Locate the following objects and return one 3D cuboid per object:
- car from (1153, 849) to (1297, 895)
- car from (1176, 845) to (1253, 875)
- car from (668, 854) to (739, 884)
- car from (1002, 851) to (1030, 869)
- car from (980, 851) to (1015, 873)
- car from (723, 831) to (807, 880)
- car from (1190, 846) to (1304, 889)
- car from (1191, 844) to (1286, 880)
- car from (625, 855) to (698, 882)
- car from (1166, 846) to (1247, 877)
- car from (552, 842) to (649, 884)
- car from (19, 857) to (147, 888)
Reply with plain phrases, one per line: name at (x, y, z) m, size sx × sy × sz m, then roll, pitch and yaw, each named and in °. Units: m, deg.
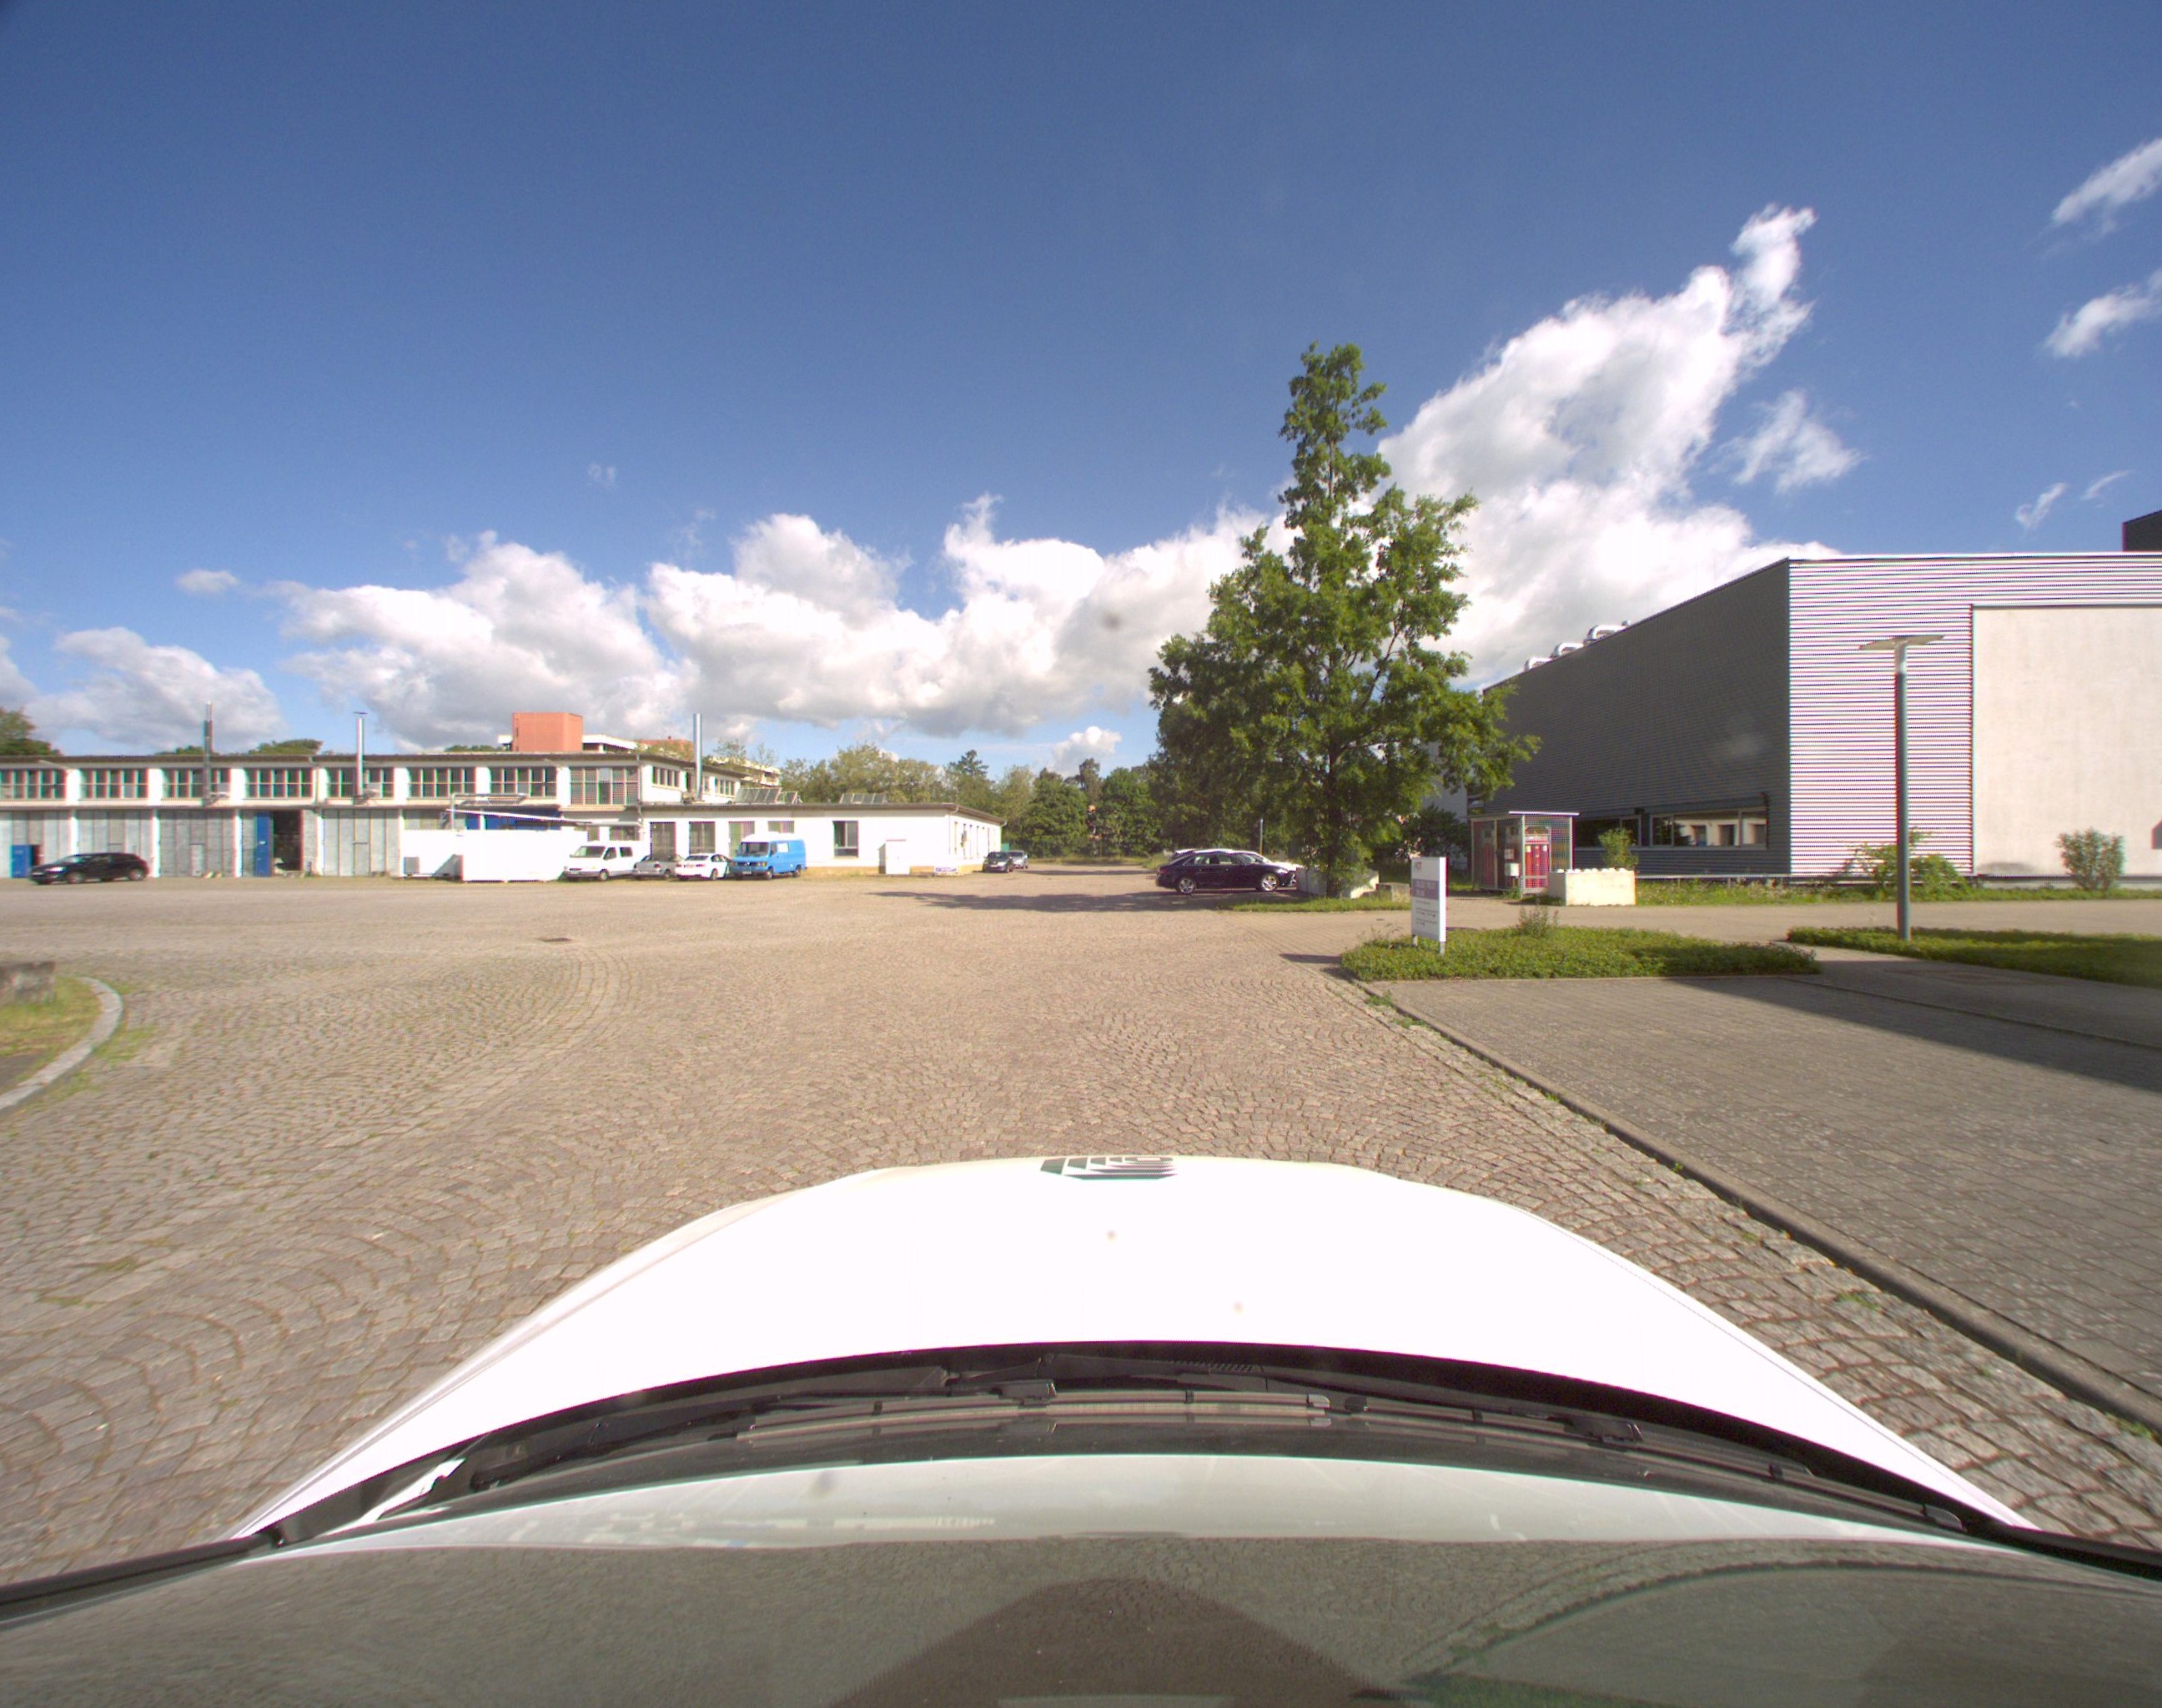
car at (4.956, 0.605, 28.408) m, size 4.702 × 1.423 × 1.757 m, roll -2°, pitch 0°, yaw 0°
car at (7.185, 0.311, 44.137) m, size 3.896 × 1.435 × 1.797 m, roll -2°, pitch 0°, yaw 2°
car at (-19.748, 0.749, 42.803) m, size 1.724 × 1.405 × 3.744 m, roll -1°, pitch 2°, yaw 5°
car at (-5.190, 0.442, 65.324) m, size 1.680 × 1.435 × 3.990 m, roll 0°, pitch 0°, yaw 3°
car at (-5.640, 0.503, 55.382) m, size 1.756 × 1.435 × 3.995 m, roll 0°, pitch 0°, yaw 3°
car at (-16.869, 0.053, 43.851) m, size 2.073 × 2.483 × 5.246 m, roll -1°, pitch 0°, yaw 5°
car at (6.272, 0.513, 31.106) m, size 4.116 × 1.460 × 1.695 m, roll -2°, pitch 0°, yaw 7°
car at (6.975, 0.357, 36.305) m, size 3.896 × 1.446 × 1.757 m, roll -2°, pitch 0°, yaw 2°
car at (-22.499, 0.749, 43.825) m, size 1.679 × 1.398 × 3.836 m, roll 0°, pitch 0°, yaw 5°
car at (6.330, 0.375, 41.324) m, size 3.896 × 1.417 × 1.694 m, roll -2°, pitch 0°, yaw 2°
car at (-25.415, 0.420, 43.306) m, size 1.994 × 2.081 × 4.812 m, roll -1°, pitch 0°, yaw 5°
car at (-52.864, 0.926, 43.266) m, size 1.729 × 1.469 × 4.077 m, roll -1°, pitch 1°, yaw 1°
